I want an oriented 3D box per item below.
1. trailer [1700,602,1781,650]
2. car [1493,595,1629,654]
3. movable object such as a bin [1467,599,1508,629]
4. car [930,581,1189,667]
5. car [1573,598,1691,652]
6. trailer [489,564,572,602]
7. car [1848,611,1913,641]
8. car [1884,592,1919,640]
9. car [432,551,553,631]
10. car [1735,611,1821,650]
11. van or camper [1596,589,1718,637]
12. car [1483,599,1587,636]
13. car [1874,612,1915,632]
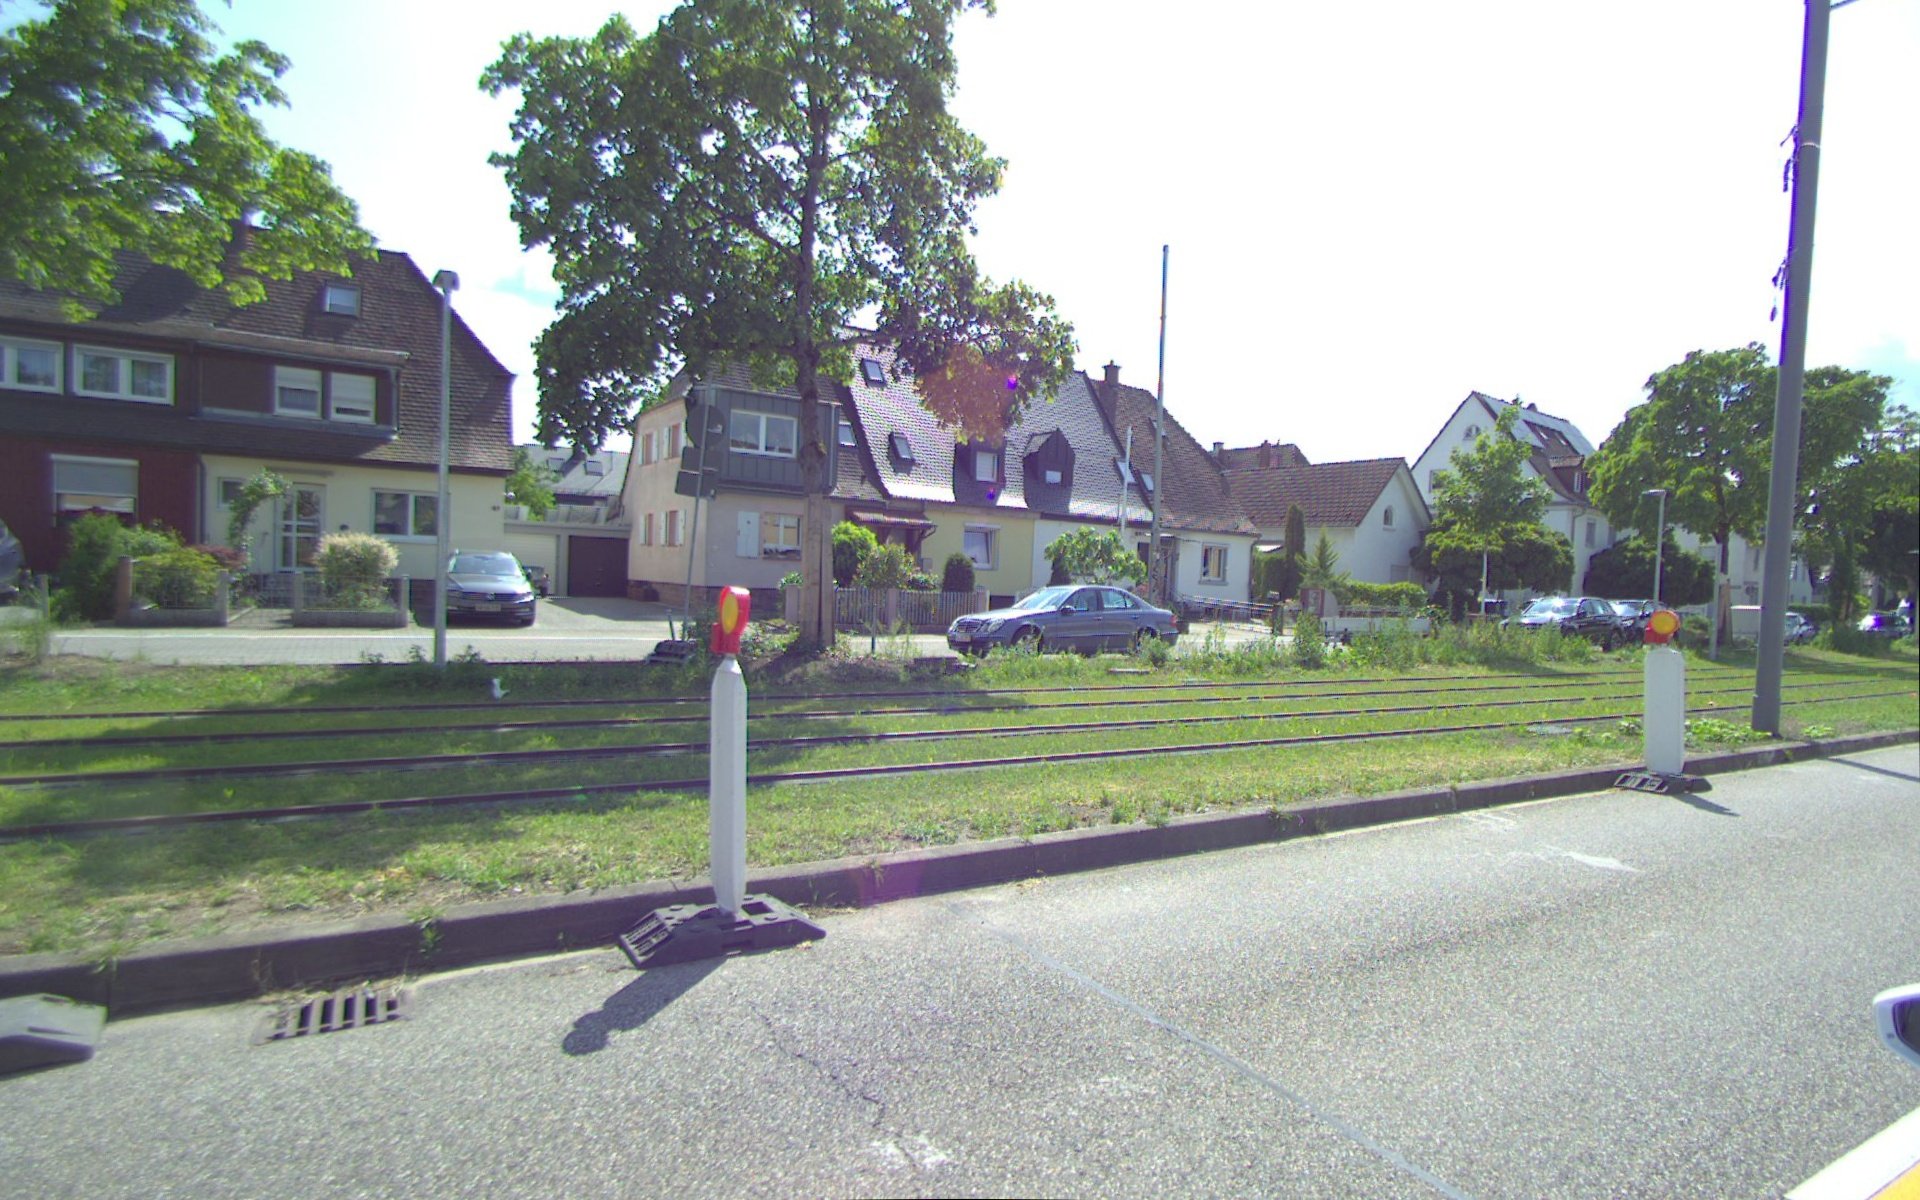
[{"bbox_3d":[29.738,0.975,38.242,3.341,1.700,1.554,1,2,-37],"label":"trailer"},{"bbox_3d":[17.571,0.703,29.301,4.524,1.608,1.798,1,0,-36],"label":"car"},{"bbox_3d":[25.433,0.665,48.431,1.078,1.347,1.350,1,1,-35],"label":"movable object such as a bin"},{"bbox_3d":[1.955,0.452,19.055,4.760,1.425,1.809,2,1,-32],"label":"car"},{"bbox_3d":[21.982,0.820,32.810,4.522,1.659,1.684,1,0,-35],"label":"car"},{"bbox_3d":[-13.588,-0.556,31.658,1.849,1.039,3.965,2,1,-32],"label":"trailer"},{"bbox_3d":[48.985,1.392,53.421,4.524,1.525,1.716,1,0,-36],"label":"car"},{"bbox_3d":[57.303,0.980,60.240,6.948,2.757,2.055,1,0,-41],"label":"car"},{"bbox_3d":[-10.248,-0.245,21.849,1.904,1.544,4.446,2,1,-31],"label":"car"},{"bbox_3d":[34.079,1.255,41.818,4.524,1.525,1.716,1,0,-36],"label":"car"},{"bbox_3d":[51.022,0.912,73.693,2.420,3.168,6.830,1,1,-37],"label":"van or camper"},{"bbox_3d":[27.726,0.836,48.551,1.779,1.592,3.955,1,1,-39],"label":"car"},{"bbox_3d":[79.948,1.872,85.916,4.359,1.573,1.864,2,1,-38],"label":"car"}]
